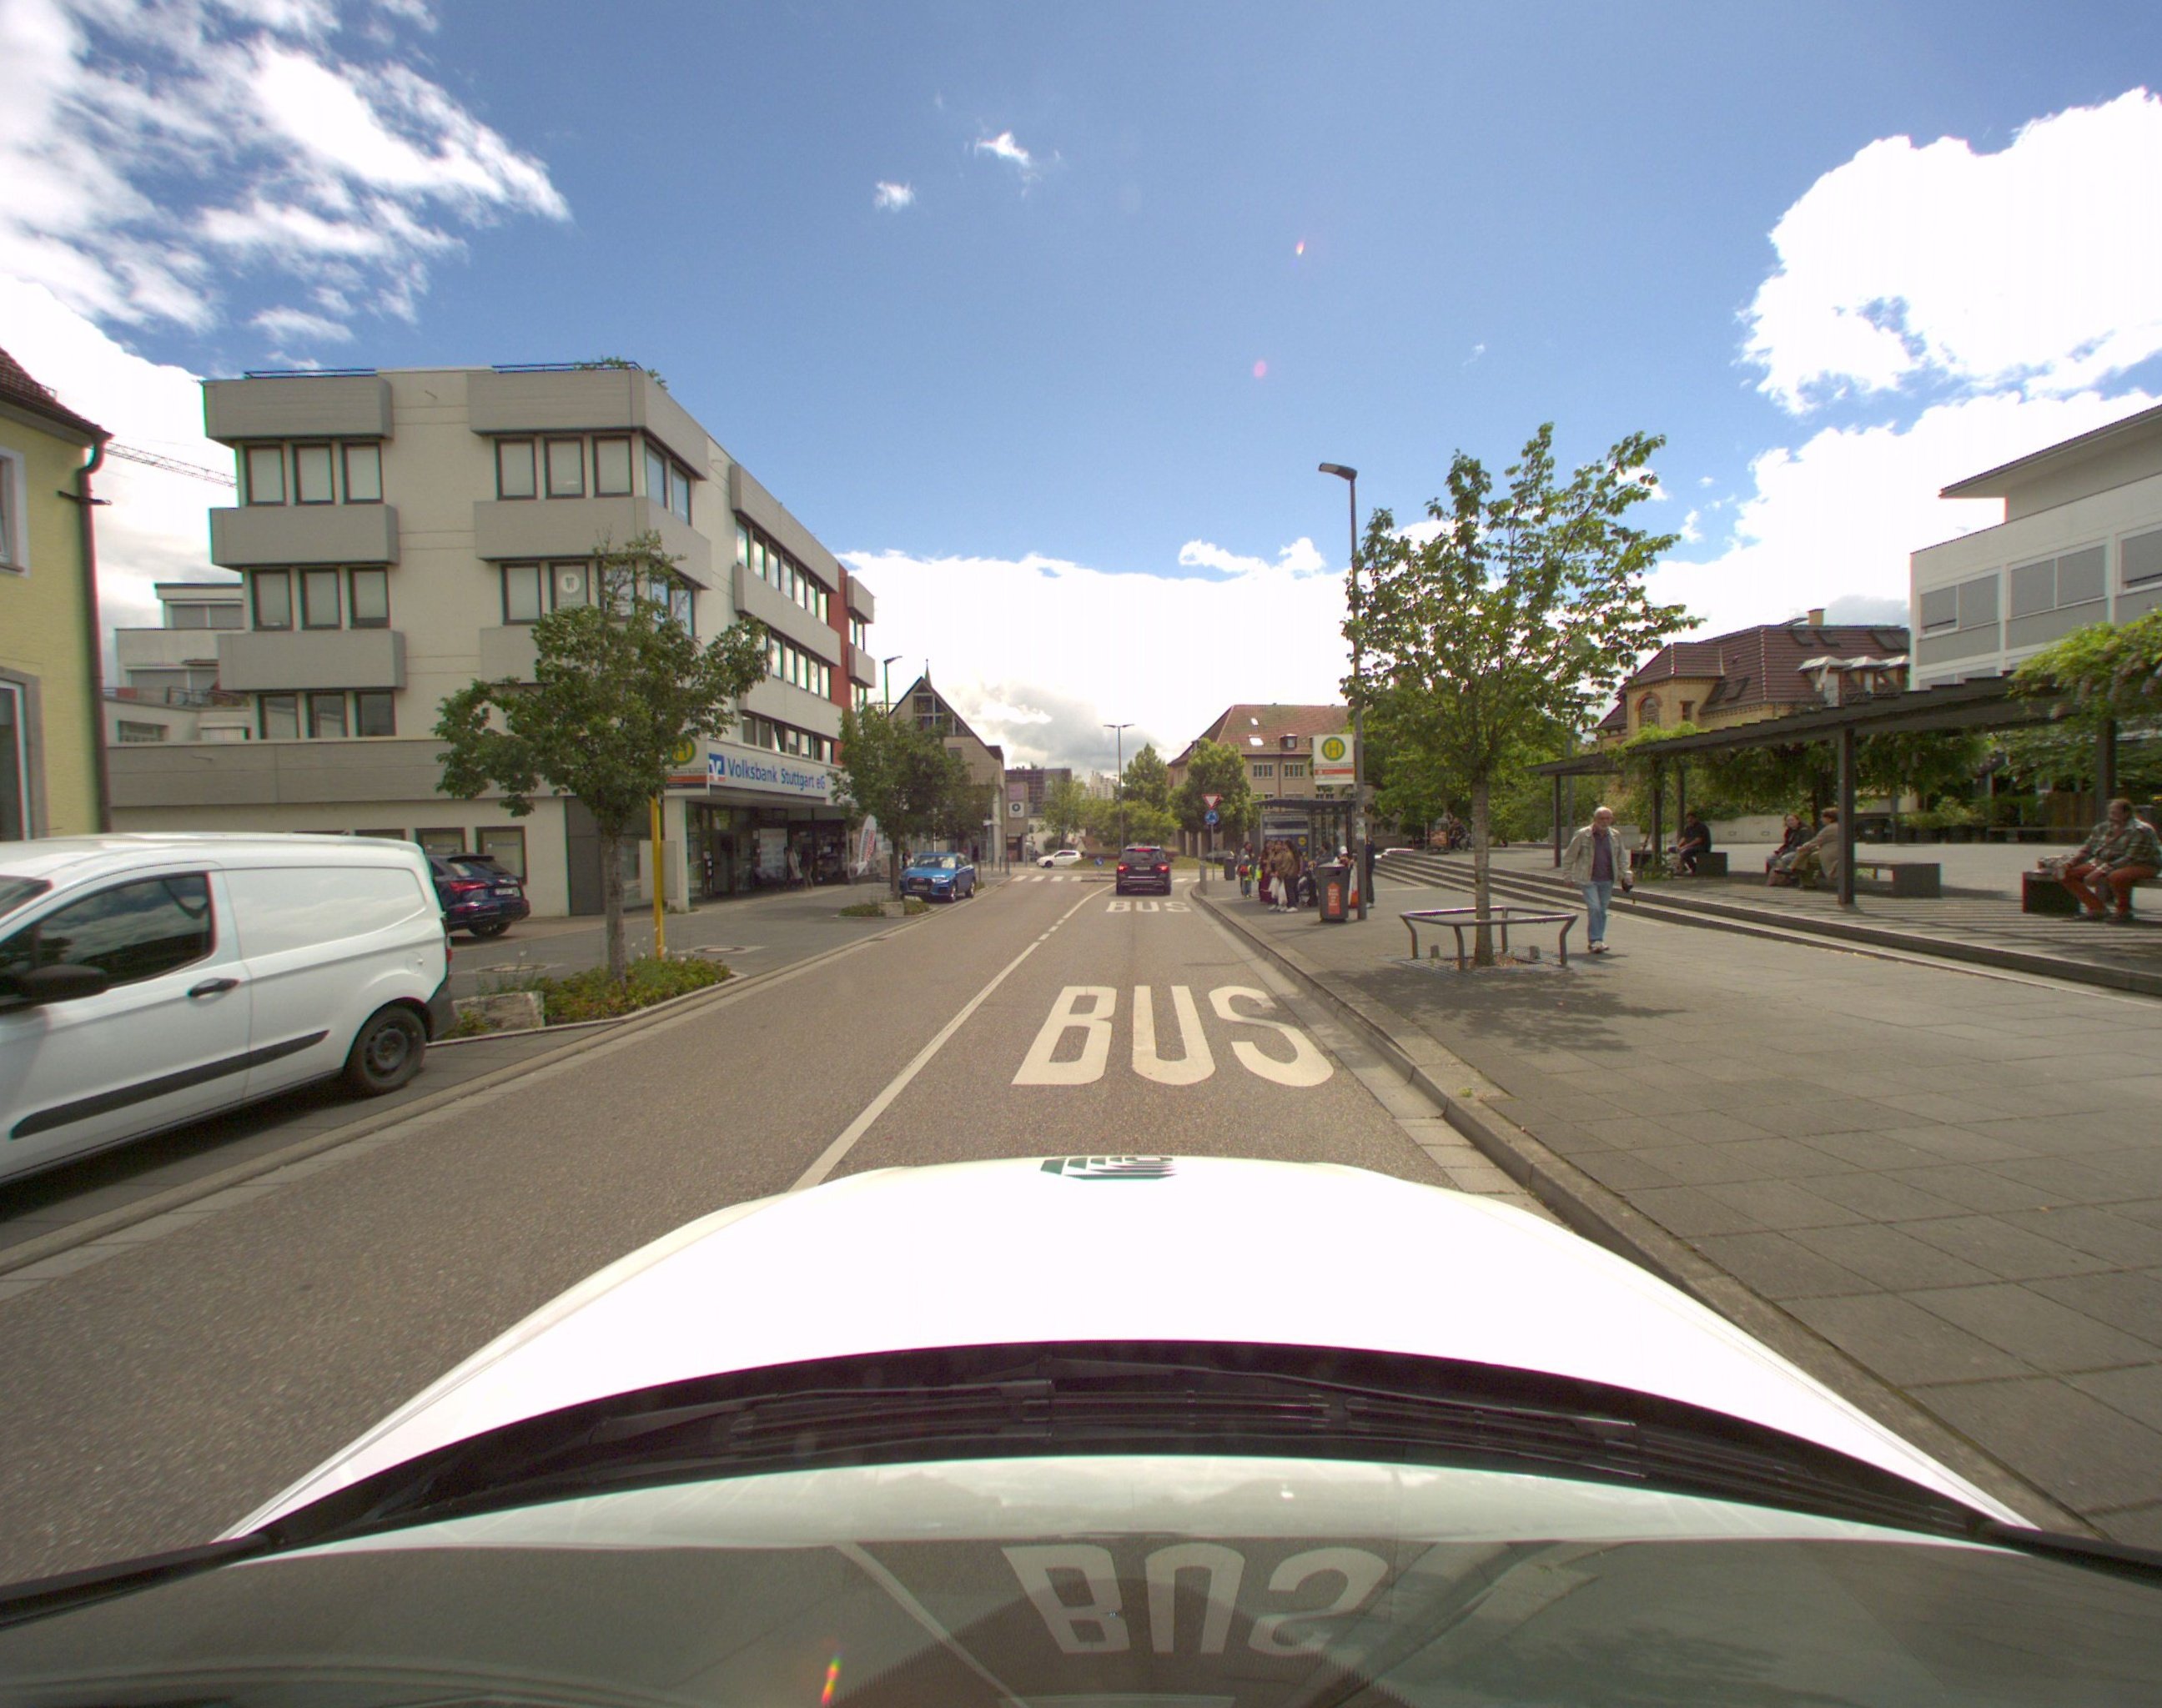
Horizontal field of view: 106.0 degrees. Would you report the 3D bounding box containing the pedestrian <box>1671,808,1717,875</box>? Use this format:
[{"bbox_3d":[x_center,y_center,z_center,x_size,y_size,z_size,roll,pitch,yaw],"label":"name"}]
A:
[{"bbox_3d":[12.540,-0.252,16.678,0.564,1.323,0.547,-1,0,12],"label":"pedestrian"}]

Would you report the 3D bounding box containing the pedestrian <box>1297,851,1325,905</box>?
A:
[{"bbox_3d":[5.367,0.545,18.985,0.376,1.211,0.633,-3,0,-3],"label":"pedestrian"}]

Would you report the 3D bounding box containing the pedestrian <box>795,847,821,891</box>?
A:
[{"bbox_3d":[-9.964,0.557,29.758,0.640,1.566,0.587,-3,0,3],"label":"pedestrian"}]

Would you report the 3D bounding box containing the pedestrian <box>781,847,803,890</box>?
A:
[{"bbox_3d":[-10.762,0.545,30.319,0.507,1.566,0.587,-3,0,3],"label":"pedestrian"}]

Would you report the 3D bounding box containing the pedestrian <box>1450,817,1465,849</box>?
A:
[{"bbox_3d":[15.241,-0.855,32.952,0.361,1.285,0.643,-2,1,8],"label":"pedestrian"}]

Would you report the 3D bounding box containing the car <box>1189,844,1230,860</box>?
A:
[{"bbox_3d":[13.309,-0.231,84.569,3.883,1.531,1.648,-2,0,-19],"label":"car"}]

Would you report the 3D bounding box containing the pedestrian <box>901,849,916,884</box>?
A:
[{"bbox_3d":[-7.983,0.575,37.656,0.585,1.588,0.638,0,0,-2],"label":"pedestrian"}]

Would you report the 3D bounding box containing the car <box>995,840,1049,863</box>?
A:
[{"bbox_3d":[-7.168,-0.264,99.078,6.302,2.560,2.192,1,-3,-19],"label":"car"}]

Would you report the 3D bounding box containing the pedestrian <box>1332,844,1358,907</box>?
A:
[{"bbox_3d":[5.654,0.457,17.471,0.387,1.306,0.355,-4,0,4],"label":"pedestrian"}]

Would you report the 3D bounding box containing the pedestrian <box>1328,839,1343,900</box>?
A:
[{"bbox_3d":[6.096,0.368,19.507,0.272,1.458,0.321,-2,0,15],"label":"pedestrian"}]

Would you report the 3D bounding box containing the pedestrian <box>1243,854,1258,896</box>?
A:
[{"bbox_3d":[4.833,0.604,23.225,0.265,1.160,0.268,-3,0,-34],"label":"pedestrian"}]

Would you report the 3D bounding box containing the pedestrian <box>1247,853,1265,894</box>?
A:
[{"bbox_3d":[5.058,0.567,23.552,0.320,1.152,0.318,-3,0,-37],"label":"pedestrian"}]

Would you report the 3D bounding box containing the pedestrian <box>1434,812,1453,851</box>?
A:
[{"bbox_3d":[14.567,-0.901,32.722,0.501,1.508,0.454,-2,1,-1],"label":"pedestrian"}]

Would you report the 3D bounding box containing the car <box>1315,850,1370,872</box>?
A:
[{"bbox_3d":[17.302,0.456,53.786,3.855,1.383,1.595,-1,1,-39],"label":"car"}]

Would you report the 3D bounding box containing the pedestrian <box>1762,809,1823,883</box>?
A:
[{"bbox_3d":[12.021,-0.137,13.773,0.564,1.227,0.568,-1,0,12],"label":"pedestrian"}]

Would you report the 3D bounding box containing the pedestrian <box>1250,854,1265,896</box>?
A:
[{"bbox_3d":[4.994,0.586,23.037,0.296,1.152,0.293,-3,0,1],"label":"pedestrian"}]

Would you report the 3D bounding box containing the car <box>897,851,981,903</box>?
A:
[{"bbox_3d":[-4.733,0.719,27.712,1.686,1.599,4.338,1,0,5],"label":"car"}]

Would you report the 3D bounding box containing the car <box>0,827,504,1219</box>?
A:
[{"bbox_3d":[-5.453,0.724,4.349,1.651,1.672,4.349,0,0,-1],"label":"car"}]

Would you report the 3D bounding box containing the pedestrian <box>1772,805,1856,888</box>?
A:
[{"bbox_3d":[11.627,-0.124,12.932,0.676,1.269,0.766,-1,0,-18],"label":"pedestrian"}]

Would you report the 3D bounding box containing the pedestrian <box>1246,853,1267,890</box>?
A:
[{"bbox_3d":[5.723,0.586,26.539,0.470,1.172,0.393,-4,0,41],"label":"pedestrian"}]

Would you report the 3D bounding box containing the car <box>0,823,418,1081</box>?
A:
[{"bbox_3d":[-8.460,0.685,7.031,1.750,1.814,4.476,0,0,1],"label":"car"}]

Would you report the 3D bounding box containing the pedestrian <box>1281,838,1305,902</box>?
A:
[{"bbox_3d":[5.252,0.395,20.154,0.389,1.566,0.354,-2,0,40],"label":"pedestrian"}]

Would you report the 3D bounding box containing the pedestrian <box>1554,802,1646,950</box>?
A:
[{"bbox_3d":[6.155,0.258,9.694,0.680,1.682,0.717,-2,0,13],"label":"pedestrian"}]

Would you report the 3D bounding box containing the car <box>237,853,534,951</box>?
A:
[{"bbox_3d":[-11.931,0.784,14.179,3.620,1.558,1.666,-1,0,-4],"label":"car"}]

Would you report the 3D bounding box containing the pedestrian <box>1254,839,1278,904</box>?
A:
[{"bbox_3d":[4.563,0.415,20.061,0.492,1.566,0.503,-2,0,15],"label":"pedestrian"}]

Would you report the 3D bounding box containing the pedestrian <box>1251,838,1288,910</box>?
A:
[{"bbox_3d":[4.150,0.427,17.933,0.489,1.549,0.537,-2,0,-43],"label":"pedestrian"}]

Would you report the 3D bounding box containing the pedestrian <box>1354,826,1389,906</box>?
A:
[{"bbox_3d":[6.219,0.250,17.442,0.509,1.680,0.577,-2,0,3],"label":"pedestrian"}]

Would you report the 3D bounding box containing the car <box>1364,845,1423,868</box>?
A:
[{"bbox_3d":[24.490,0.204,63.963,4.220,1.576,1.858,-2,0,18],"label":"car"}]

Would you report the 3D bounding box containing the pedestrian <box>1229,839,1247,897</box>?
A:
[{"bbox_3d":[4.462,0.389,23.163,0.384,1.619,0.471,-3,0,13],"label":"pedestrian"}]

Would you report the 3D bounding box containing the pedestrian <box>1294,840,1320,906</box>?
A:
[{"bbox_3d":[5.102,0.425,18.429,0.376,1.442,0.415,-3,0,-3],"label":"pedestrian"}]

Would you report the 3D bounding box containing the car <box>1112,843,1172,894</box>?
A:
[{"bbox_3d":[2.295,0.551,30.037,2.017,1.727,4.439,-1,-2,6],"label":"car"}]

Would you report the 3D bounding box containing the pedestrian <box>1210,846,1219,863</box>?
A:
[{"bbox_3d":[13.126,0.051,80.214,0.578,1.523,0.633,-3,5,-29],"label":"pedestrian"}]

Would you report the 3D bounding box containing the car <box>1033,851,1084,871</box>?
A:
[{"bbox_3d":[-1.864,0.575,67.830,3.883,1.531,1.648,-2,0,-19],"label":"car"}]

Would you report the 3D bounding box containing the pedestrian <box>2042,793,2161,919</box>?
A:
[{"bbox_3d":[11.081,0.021,8.836,0.620,1.307,0.547,-2,0,7],"label":"pedestrian"}]

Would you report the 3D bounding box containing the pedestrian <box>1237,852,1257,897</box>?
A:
[{"bbox_3d":[4.604,0.556,22.584,0.399,1.226,0.390,-2,0,25],"label":"pedestrian"}]

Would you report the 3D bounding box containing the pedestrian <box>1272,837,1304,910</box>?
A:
[{"bbox_3d":[4.444,0.410,17.482,0.508,1.549,0.490,-2,0,29],"label":"pedestrian"}]
